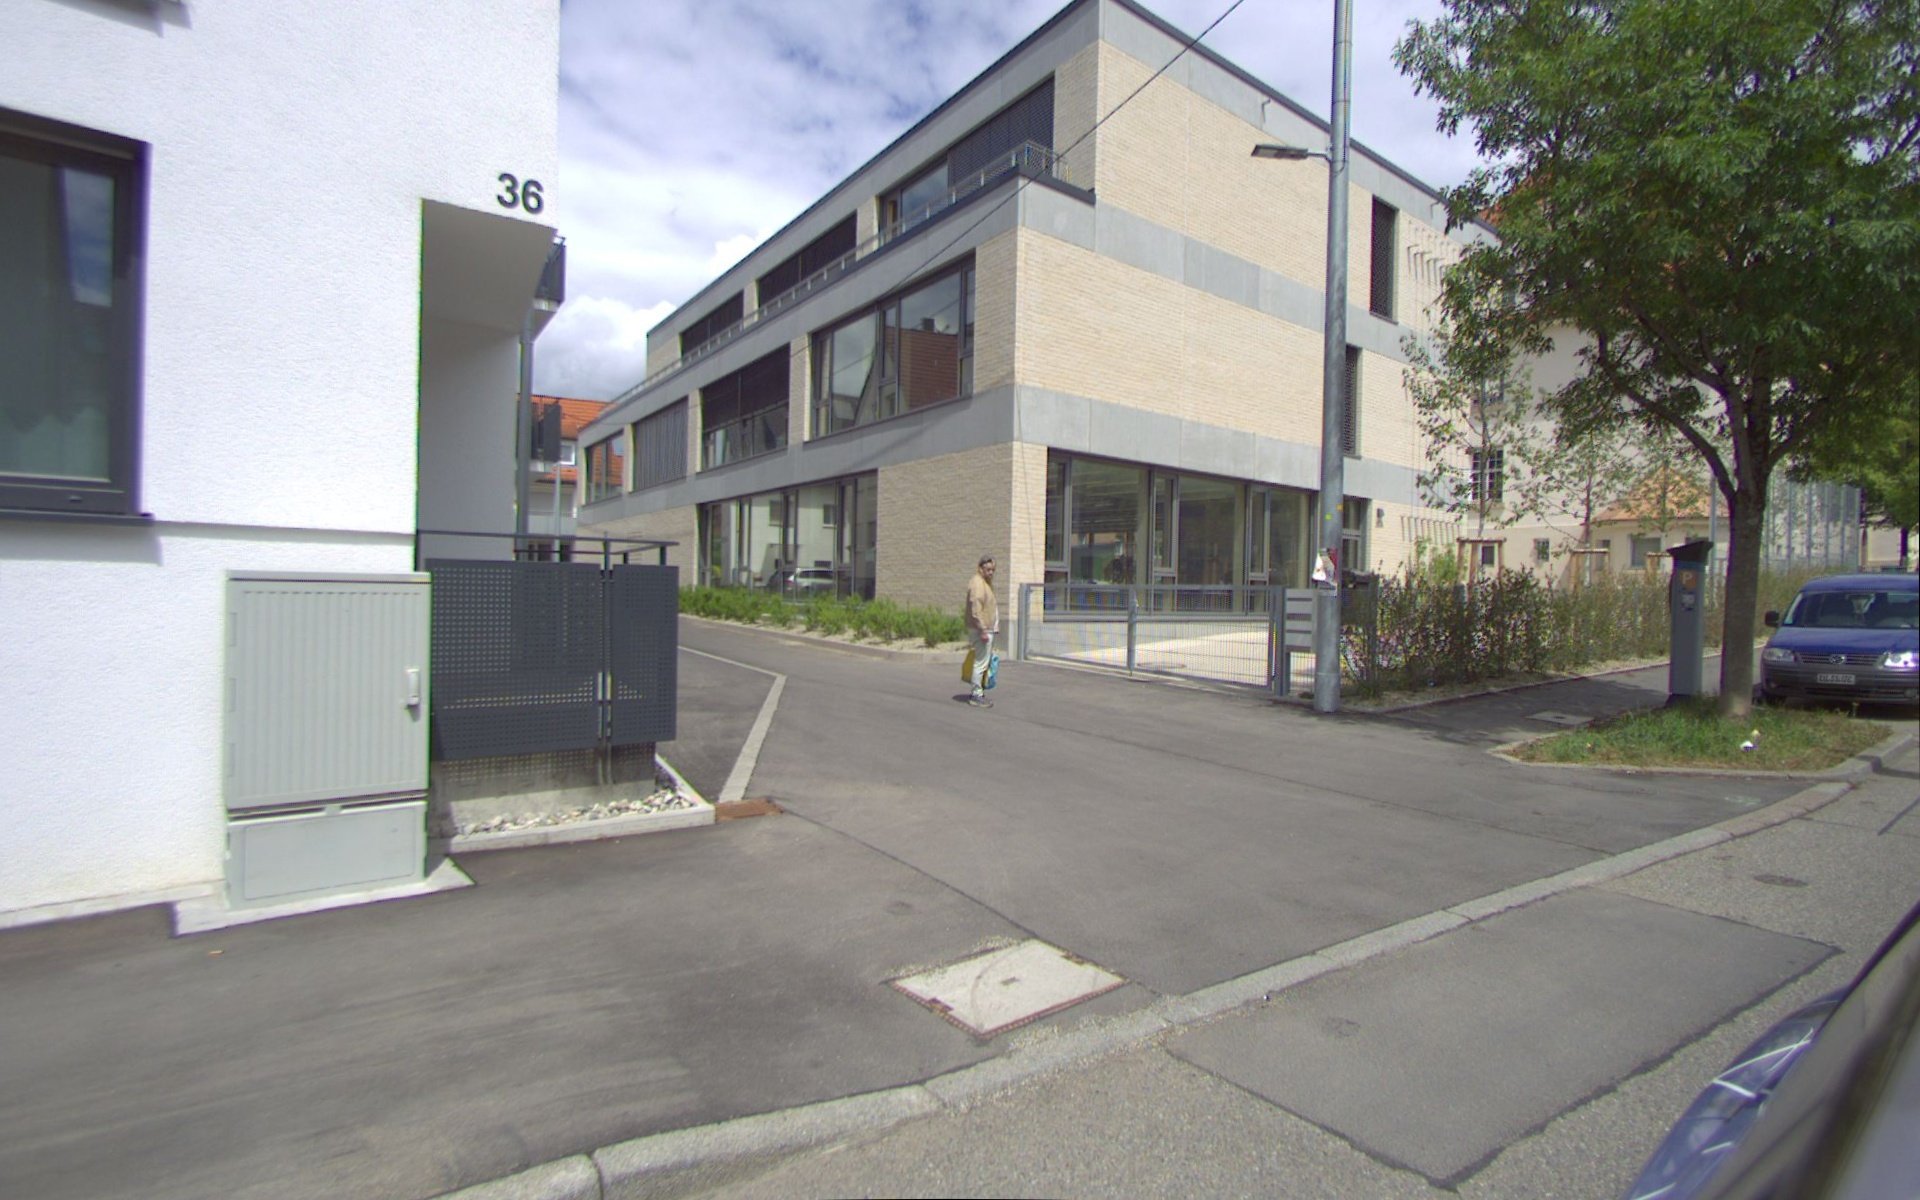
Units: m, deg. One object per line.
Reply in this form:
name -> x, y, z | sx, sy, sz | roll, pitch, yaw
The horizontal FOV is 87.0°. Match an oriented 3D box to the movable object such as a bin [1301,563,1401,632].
movable object such as a bin -> 8.682, -0.073, 22.473 | 1.774, 1.465, 1.351 | 0, 1, -39

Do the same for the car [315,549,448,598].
car -> -19.955, -0.891, 35.012 | 3.857, 1.524, 1.700 | 1, 1, -31

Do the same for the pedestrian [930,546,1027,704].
pedestrian -> 0.215, 0.264, 11.632 | 0.815, 1.725, 0.774 | 0, 0, -42

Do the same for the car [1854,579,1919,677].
car -> 16.589, 0.421, 17.135 | 3.605, 1.538, 1.676 | -1, 2, -40

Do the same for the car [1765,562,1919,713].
car -> 12.362, 0.396, 13.564 | 4.086, 1.765, 1.698 | -1, 2, -40
